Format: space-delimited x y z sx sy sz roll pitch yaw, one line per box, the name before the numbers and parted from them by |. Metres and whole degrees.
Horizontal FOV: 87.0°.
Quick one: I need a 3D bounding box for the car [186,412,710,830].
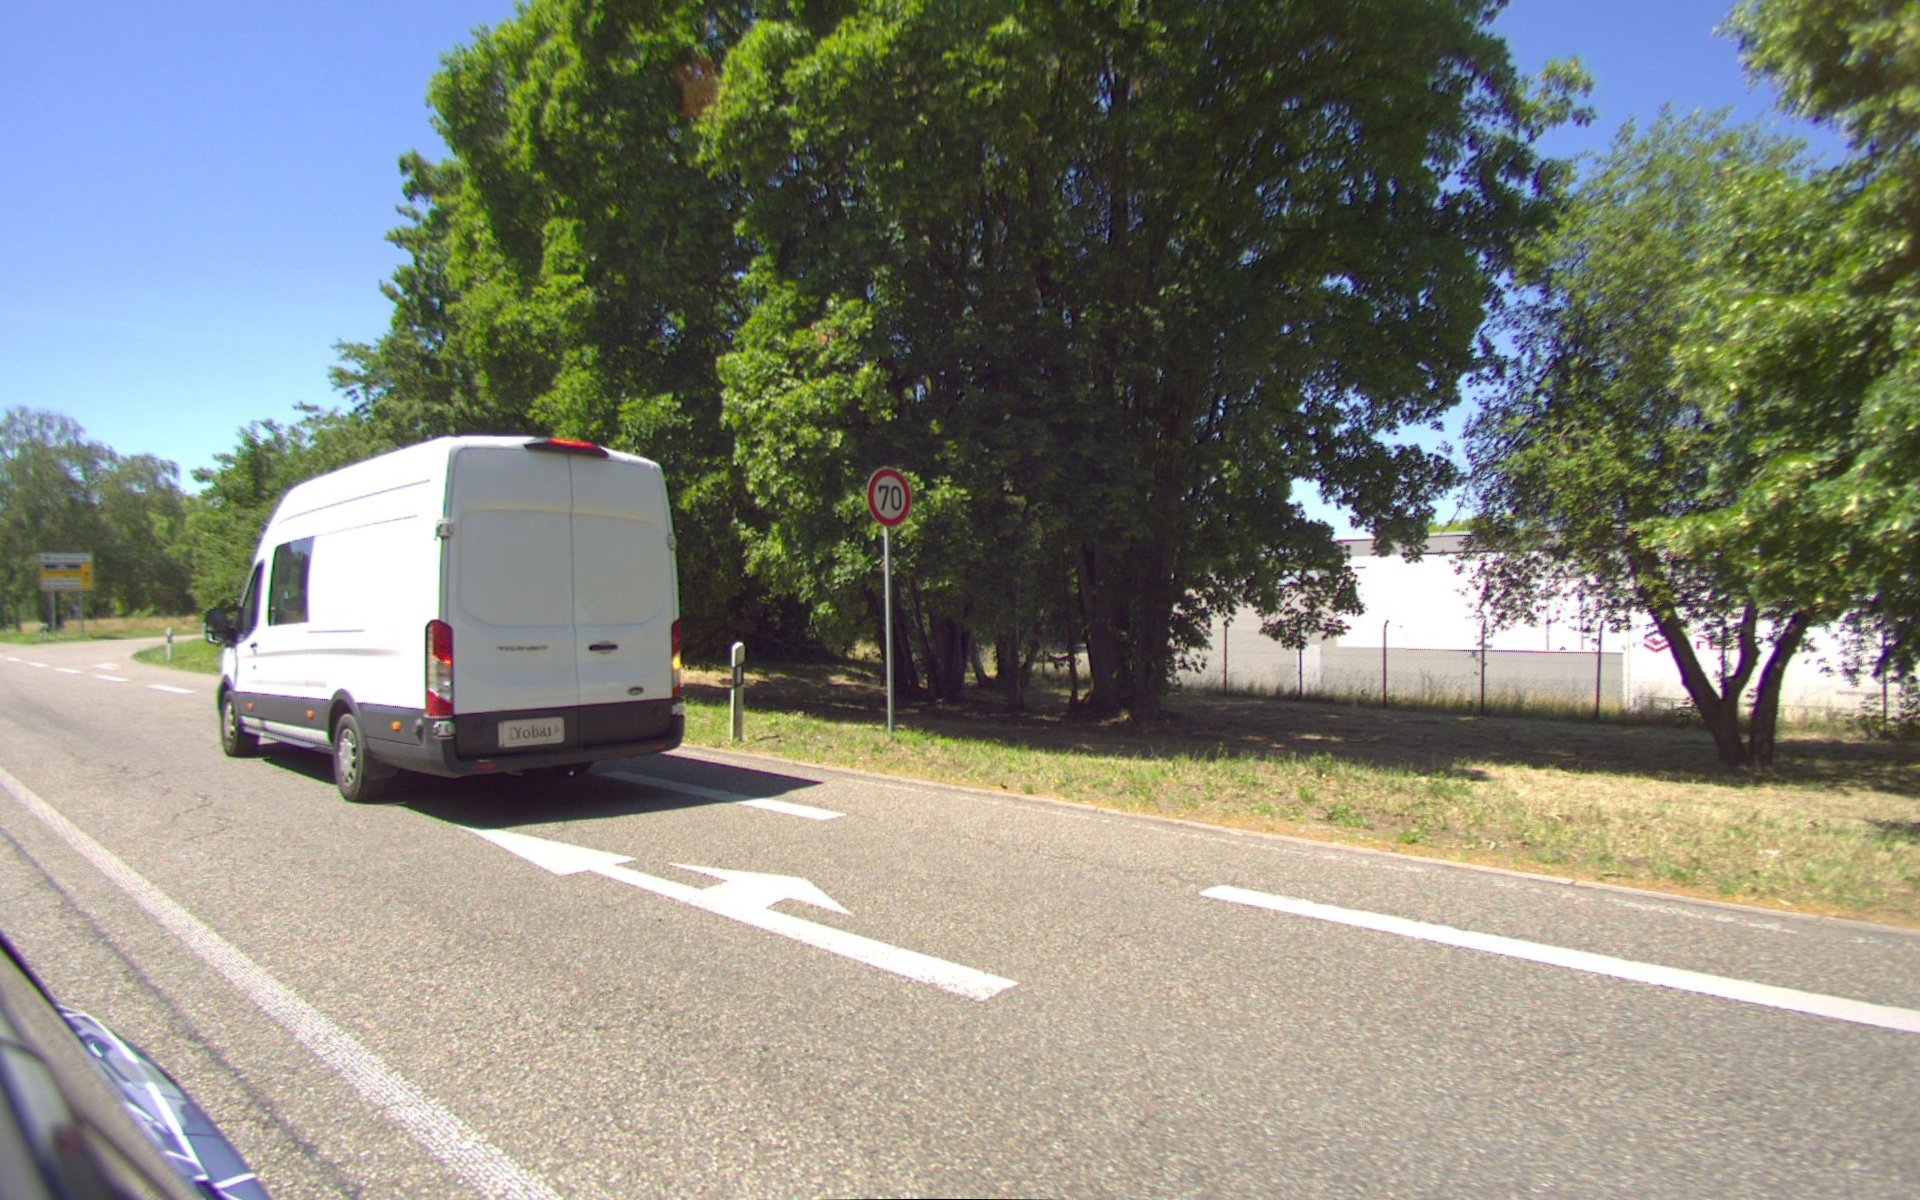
car | -5.164 0.165 9.439 6.781 2.647 2.051 -1 -1 42
